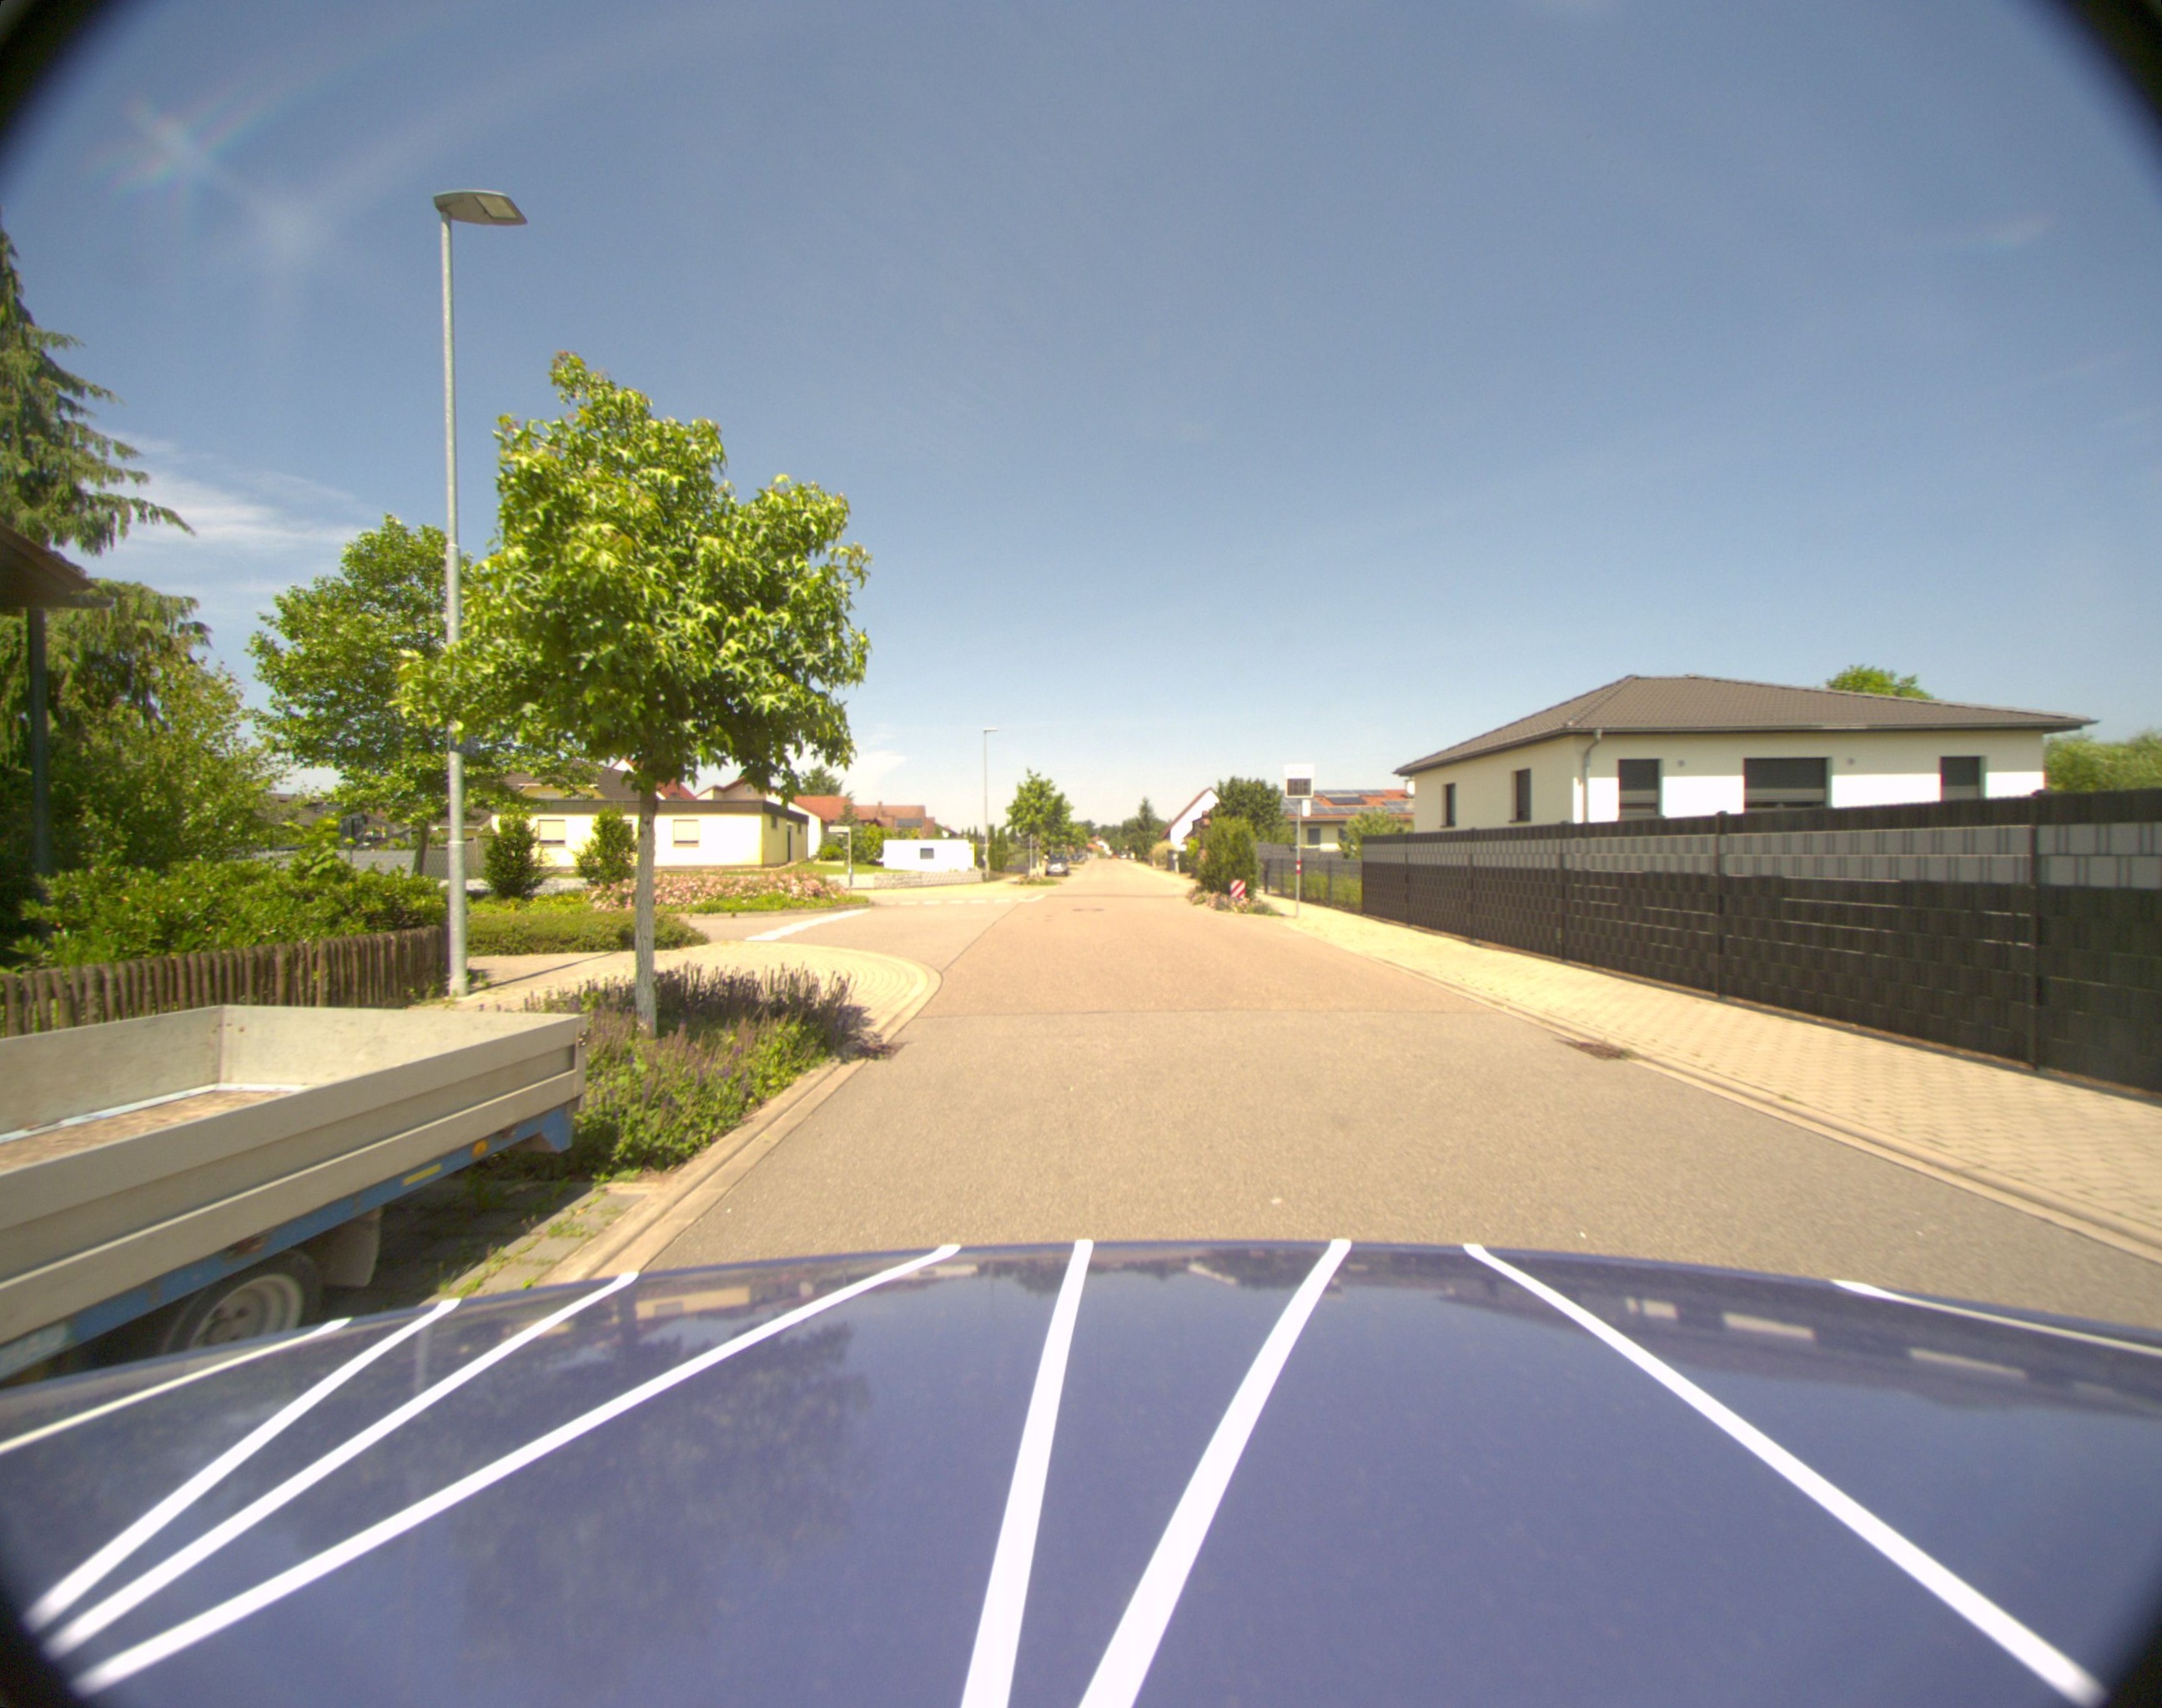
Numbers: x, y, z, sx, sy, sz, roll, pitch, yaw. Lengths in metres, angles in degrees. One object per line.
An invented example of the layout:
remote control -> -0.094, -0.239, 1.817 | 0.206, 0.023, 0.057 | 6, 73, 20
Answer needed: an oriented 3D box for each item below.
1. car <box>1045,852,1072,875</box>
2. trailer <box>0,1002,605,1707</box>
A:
car -> -1.598, 0.662, 55.839 | 1.597, 1.630, 3.803 | 1, 1, 4
trailer -> -3.005, 1.176, 1.869 | 1.792, 1.052, 2.899 | 0, 0, 1
